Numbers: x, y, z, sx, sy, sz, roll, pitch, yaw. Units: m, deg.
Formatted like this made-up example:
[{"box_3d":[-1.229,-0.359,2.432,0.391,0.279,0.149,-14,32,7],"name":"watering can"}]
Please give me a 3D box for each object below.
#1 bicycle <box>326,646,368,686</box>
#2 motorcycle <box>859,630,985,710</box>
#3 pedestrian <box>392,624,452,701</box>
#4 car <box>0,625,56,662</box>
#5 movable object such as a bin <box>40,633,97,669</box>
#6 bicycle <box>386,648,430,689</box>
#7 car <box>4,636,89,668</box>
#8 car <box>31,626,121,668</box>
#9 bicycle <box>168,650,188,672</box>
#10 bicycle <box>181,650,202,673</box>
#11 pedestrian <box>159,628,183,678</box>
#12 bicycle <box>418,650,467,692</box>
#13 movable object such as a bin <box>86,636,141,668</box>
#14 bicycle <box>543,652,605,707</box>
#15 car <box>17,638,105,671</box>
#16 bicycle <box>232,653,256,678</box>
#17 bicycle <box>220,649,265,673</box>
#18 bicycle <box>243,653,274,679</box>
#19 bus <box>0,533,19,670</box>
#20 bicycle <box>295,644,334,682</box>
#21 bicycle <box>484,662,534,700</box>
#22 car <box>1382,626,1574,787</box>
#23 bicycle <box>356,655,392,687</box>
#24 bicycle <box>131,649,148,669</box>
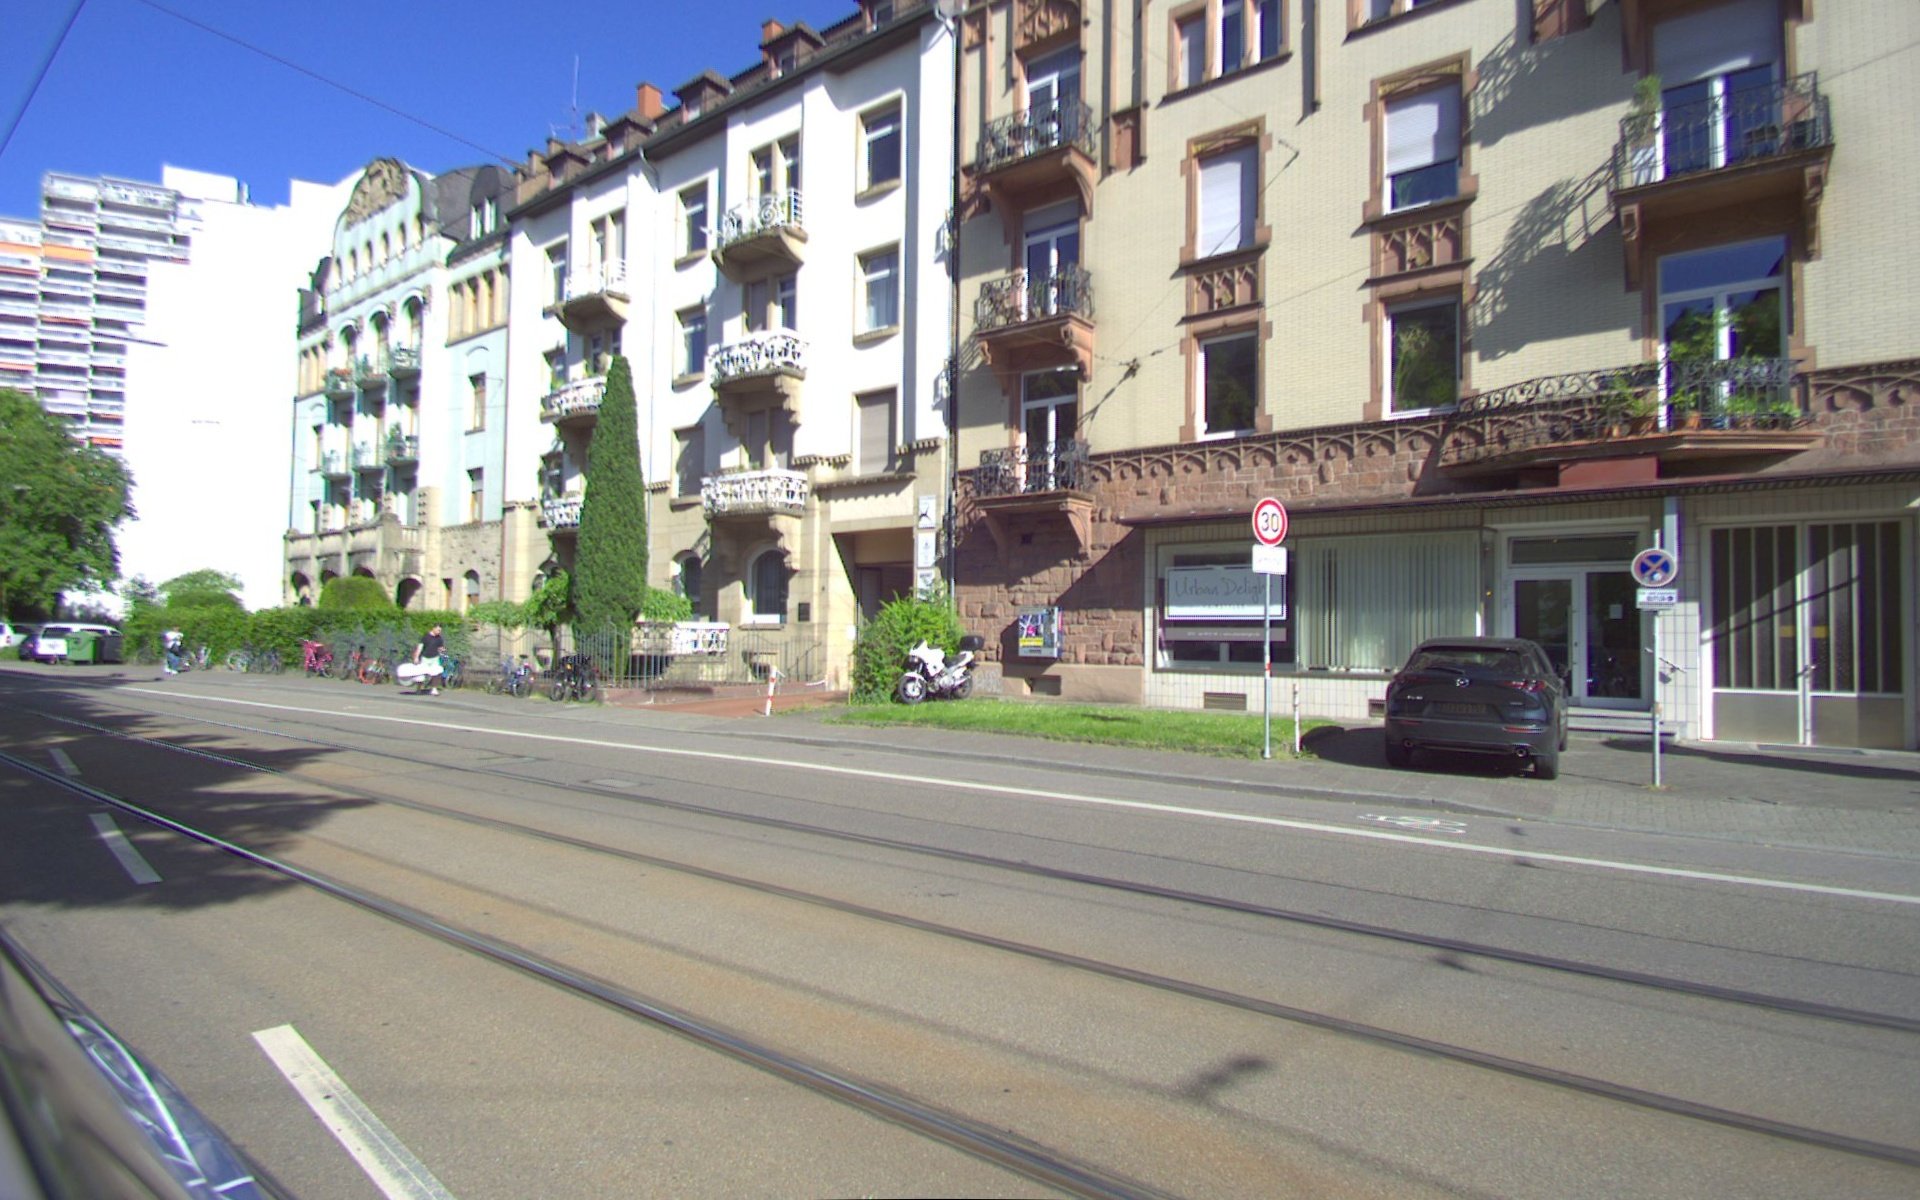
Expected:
[{"box_3d":[-16.940,1.798,27.959,1.814,1.031,0.400,-1,-2,40],"name":"bicycle"},{"box_3d":[-0.705,1.353,20.466,0.822,1.467,3.056,-1,-1,37],"name":"motorcycle"},{"box_3d":[-12.108,1.387,22.790,0.869,1.640,0.858,-1,2,39],"name":"pedestrian"},{"box_3d":[-50.479,2.291,53.851,1.893,1.885,3.448,0,-1,-6],"name":"car"},{"box_3d":[-37.728,2.118,42.804,2.094,1.443,1.493,-1,-2,40],"name":"movable object such as a bin"},{"box_3d":[-14.102,1.735,25.827,1.647,0.949,0.400,-1,-2,40],"name":"bicycle"},{"box_3d":[-44.771,2.540,49.640,1.450,1.446,2.735,0,-1,22],"name":"car"},{"box_3d":[-39.812,2.158,45.649,1.437,1.787,3.190,0,-4,-6],"name":"car"},{"box_3d":[-28.736,2.250,37.187,1.262,0.767,0.293,-1,-2,40],"name":"bicycle"},{"box_3d":[-27.363,2.180,36.040,1.262,0.767,0.314,-1,-2,40],"name":"bicycle"},{"box_3d":[-26.547,1.764,34.053,0.659,1.641,0.470,-1,-2,40],"name":"pedestrian"},{"box_3d":[-12.642,1.721,24.684,1.747,0.949,0.400,-1,-2,40],"name":"bicycle"},{"box_3d":[-37.424,2.290,44.734,2.094,1.327,1.482,-1,-1,40],"name":"movable object such as a bin"},{"box_3d":[-8.109,1.647,21.248,1.747,1.047,0.400,-1,-2,40],"name":"bicycle"},{"box_3d":[-42.163,2.516,47.515,1.450,1.446,2.735,0,-1,22],"name":"car"},{"box_3d":[-23.389,2.130,33.046,1.262,0.767,0.335,-1,-2,40],"name":"bicycle"},{"box_3d":[-25.318,2.151,35.711,0.297,0.799,1.246,-1,-2,40],"name":"bicycle"},{"box_3d":[-22.236,2.088,32.082,1.580,0.767,0.400,-1,-2,40],"name":"bicycle"},{"box_3d":[-32.023,0.060,30.880,12.178,3.806,2.823,0,-1,38],"name":"bus"},{"box_3d":[-18.748,1.823,29.371,1.814,1.031,0.400,-1,-2,40],"name":"bicycle"},{"box_3d":[-10.009,1.788,22.448,1.650,0.767,0.314,-1,-2,40],"name":"bicycle"},{"box_3d":[6.582,1.155,12.636,1.766,1.514,3.956,0,1,33],"name":"car"},{"box_3d":[-15.558,1.873,26.864,1.541,0.767,0.314,-1,-2,40],"name":"bicycle"},{"box_3d":[-32.496,2.337,40.083,1.262,0.767,0.293,-1,-2,40],"name":"bicycle"}]
